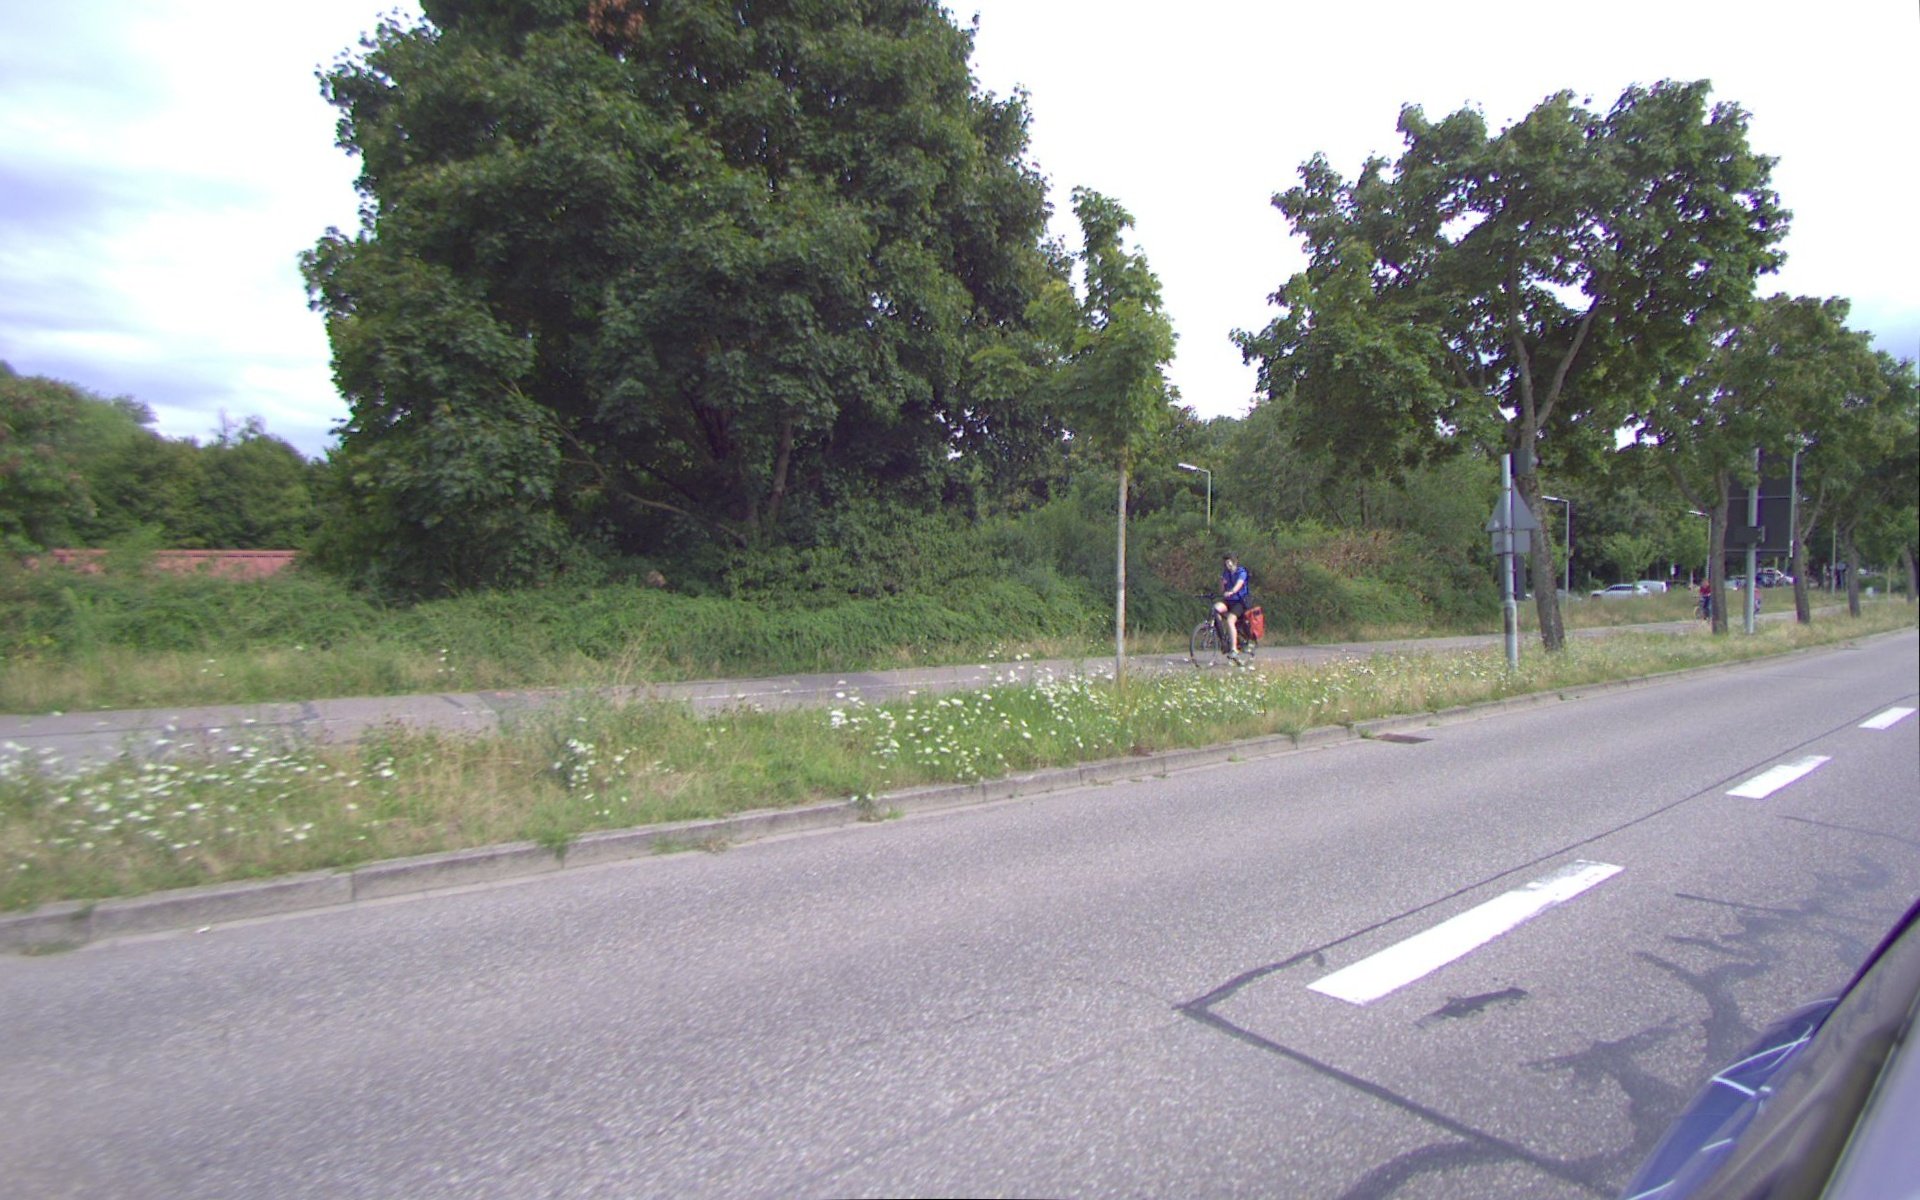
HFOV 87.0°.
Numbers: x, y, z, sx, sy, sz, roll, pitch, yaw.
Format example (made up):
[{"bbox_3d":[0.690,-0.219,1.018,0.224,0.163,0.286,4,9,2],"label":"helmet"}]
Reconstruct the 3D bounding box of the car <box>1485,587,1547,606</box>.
[{"bbox_3d":[37.401,-0.266,68.140,3.437,1.205,1.337,2,2,43],"label":"car"}]

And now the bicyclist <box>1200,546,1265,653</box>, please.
[{"bbox_3d":[4.399,-0.017,16.327,0.861,1.678,0.652,-1,1,-42],"label":"bicyclist"}]

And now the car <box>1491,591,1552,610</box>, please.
[{"bbox_3d":[38.668,0.016,69.729,3.437,1.205,1.337,2,2,43],"label":"car"}]

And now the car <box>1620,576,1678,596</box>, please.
[{"bbox_3d":[60.538,-1.256,88.917,3.987,1.574,1.626,3,3,43],"label":"car"}]

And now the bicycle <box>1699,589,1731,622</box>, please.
[{"bbox_3d":[28.116,0.183,37.669,2.193,1.162,0.514,-1,3,-42],"label":"bicycle"}]

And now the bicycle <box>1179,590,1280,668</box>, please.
[{"bbox_3d":[4.367,0.434,16.315,1.948,1.162,0.574,0,2,-42],"label":"bicycle"}]

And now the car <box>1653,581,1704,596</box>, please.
[{"bbox_3d":[72.794,-1.174,102.572,3.987,1.383,1.594,3,3,43],"label":"car"}]

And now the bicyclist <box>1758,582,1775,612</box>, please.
[{"bbox_3d":[36.432,-0.139,45.729,0.442,1.298,0.539,-1,1,-42],"label":"bicyclist"}]

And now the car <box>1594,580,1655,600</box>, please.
[{"bbox_3d":[55.118,-0.829,83.972,3.987,1.461,1.626,3,3,43],"label":"car"}]

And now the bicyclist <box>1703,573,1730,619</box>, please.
[{"bbox_3d":[28.159,-0.163,37.664,0.767,1.678,0.652,-1,1,-42],"label":"bicyclist"}]

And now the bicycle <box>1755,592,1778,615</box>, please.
[{"bbox_3d":[36.504,0.144,45.800,1.752,0.976,0.514,-1,3,-42],"label":"bicycle"}]
